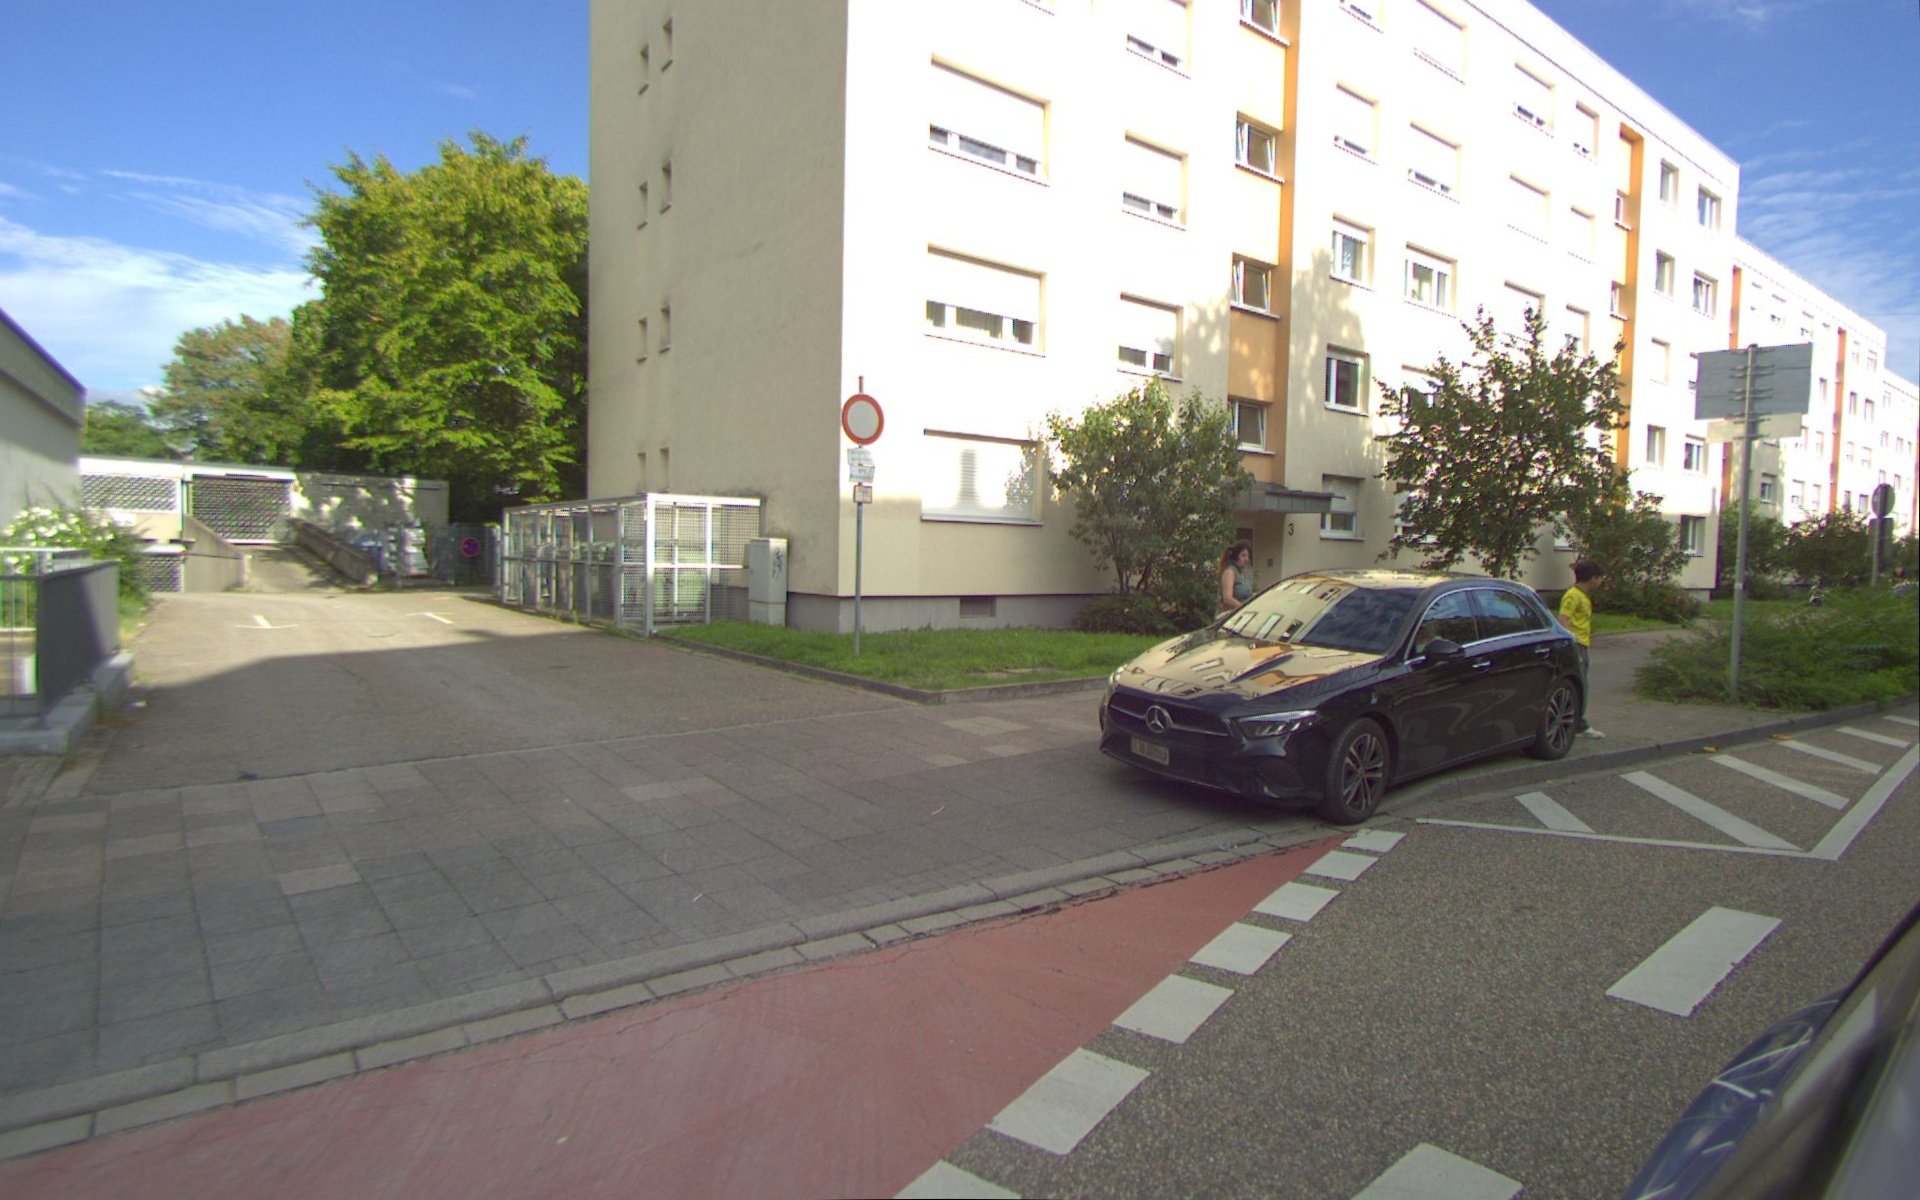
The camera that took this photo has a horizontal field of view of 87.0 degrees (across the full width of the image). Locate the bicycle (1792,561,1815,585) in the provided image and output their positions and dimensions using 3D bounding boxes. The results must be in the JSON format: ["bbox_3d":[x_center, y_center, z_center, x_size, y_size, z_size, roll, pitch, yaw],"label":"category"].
[{"bbox_3d":[33.918,-1.100,40.703,1.491,0.952,0.459,-2,5,-42],"label":"bicycle"}]

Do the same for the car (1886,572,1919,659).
[{"bbox_3d":[19.324,0.274,19.543,4.165,1.546,1.693,-2,4,-42],"label":"car"}]

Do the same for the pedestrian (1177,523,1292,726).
[{"bbox_3d":[2.381,0.183,8.789,0.730,1.665,0.654,-1,3,-41],"label":"pedestrian"}]

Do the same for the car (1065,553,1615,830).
[{"bbox_3d":[2.905,0.409,7.357,4.155,1.428,1.767,-2,5,-37],"label":"car"}]

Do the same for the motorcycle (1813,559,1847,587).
[{"bbox_3d":[34.038,-1.064,39.593,2.353,1.057,0.632,-2,5,-42],"label":"motorcycle"}]

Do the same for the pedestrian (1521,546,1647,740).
[{"bbox_3d":[5.352,0.327,8.684,0.730,1.557,0.654,-1,5,-41],"label":"pedestrian"}]

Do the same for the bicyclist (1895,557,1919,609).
[{"bbox_3d":[32.128,-0.587,34.210,0.877,1.698,0.624,-2,3,-41],"label":"bicyclist"}]

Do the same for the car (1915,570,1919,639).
[{"bbox_3d":[23.670,0.085,23.374,4.161,1.547,1.695,-2,4,-38],"label":"car"}]
